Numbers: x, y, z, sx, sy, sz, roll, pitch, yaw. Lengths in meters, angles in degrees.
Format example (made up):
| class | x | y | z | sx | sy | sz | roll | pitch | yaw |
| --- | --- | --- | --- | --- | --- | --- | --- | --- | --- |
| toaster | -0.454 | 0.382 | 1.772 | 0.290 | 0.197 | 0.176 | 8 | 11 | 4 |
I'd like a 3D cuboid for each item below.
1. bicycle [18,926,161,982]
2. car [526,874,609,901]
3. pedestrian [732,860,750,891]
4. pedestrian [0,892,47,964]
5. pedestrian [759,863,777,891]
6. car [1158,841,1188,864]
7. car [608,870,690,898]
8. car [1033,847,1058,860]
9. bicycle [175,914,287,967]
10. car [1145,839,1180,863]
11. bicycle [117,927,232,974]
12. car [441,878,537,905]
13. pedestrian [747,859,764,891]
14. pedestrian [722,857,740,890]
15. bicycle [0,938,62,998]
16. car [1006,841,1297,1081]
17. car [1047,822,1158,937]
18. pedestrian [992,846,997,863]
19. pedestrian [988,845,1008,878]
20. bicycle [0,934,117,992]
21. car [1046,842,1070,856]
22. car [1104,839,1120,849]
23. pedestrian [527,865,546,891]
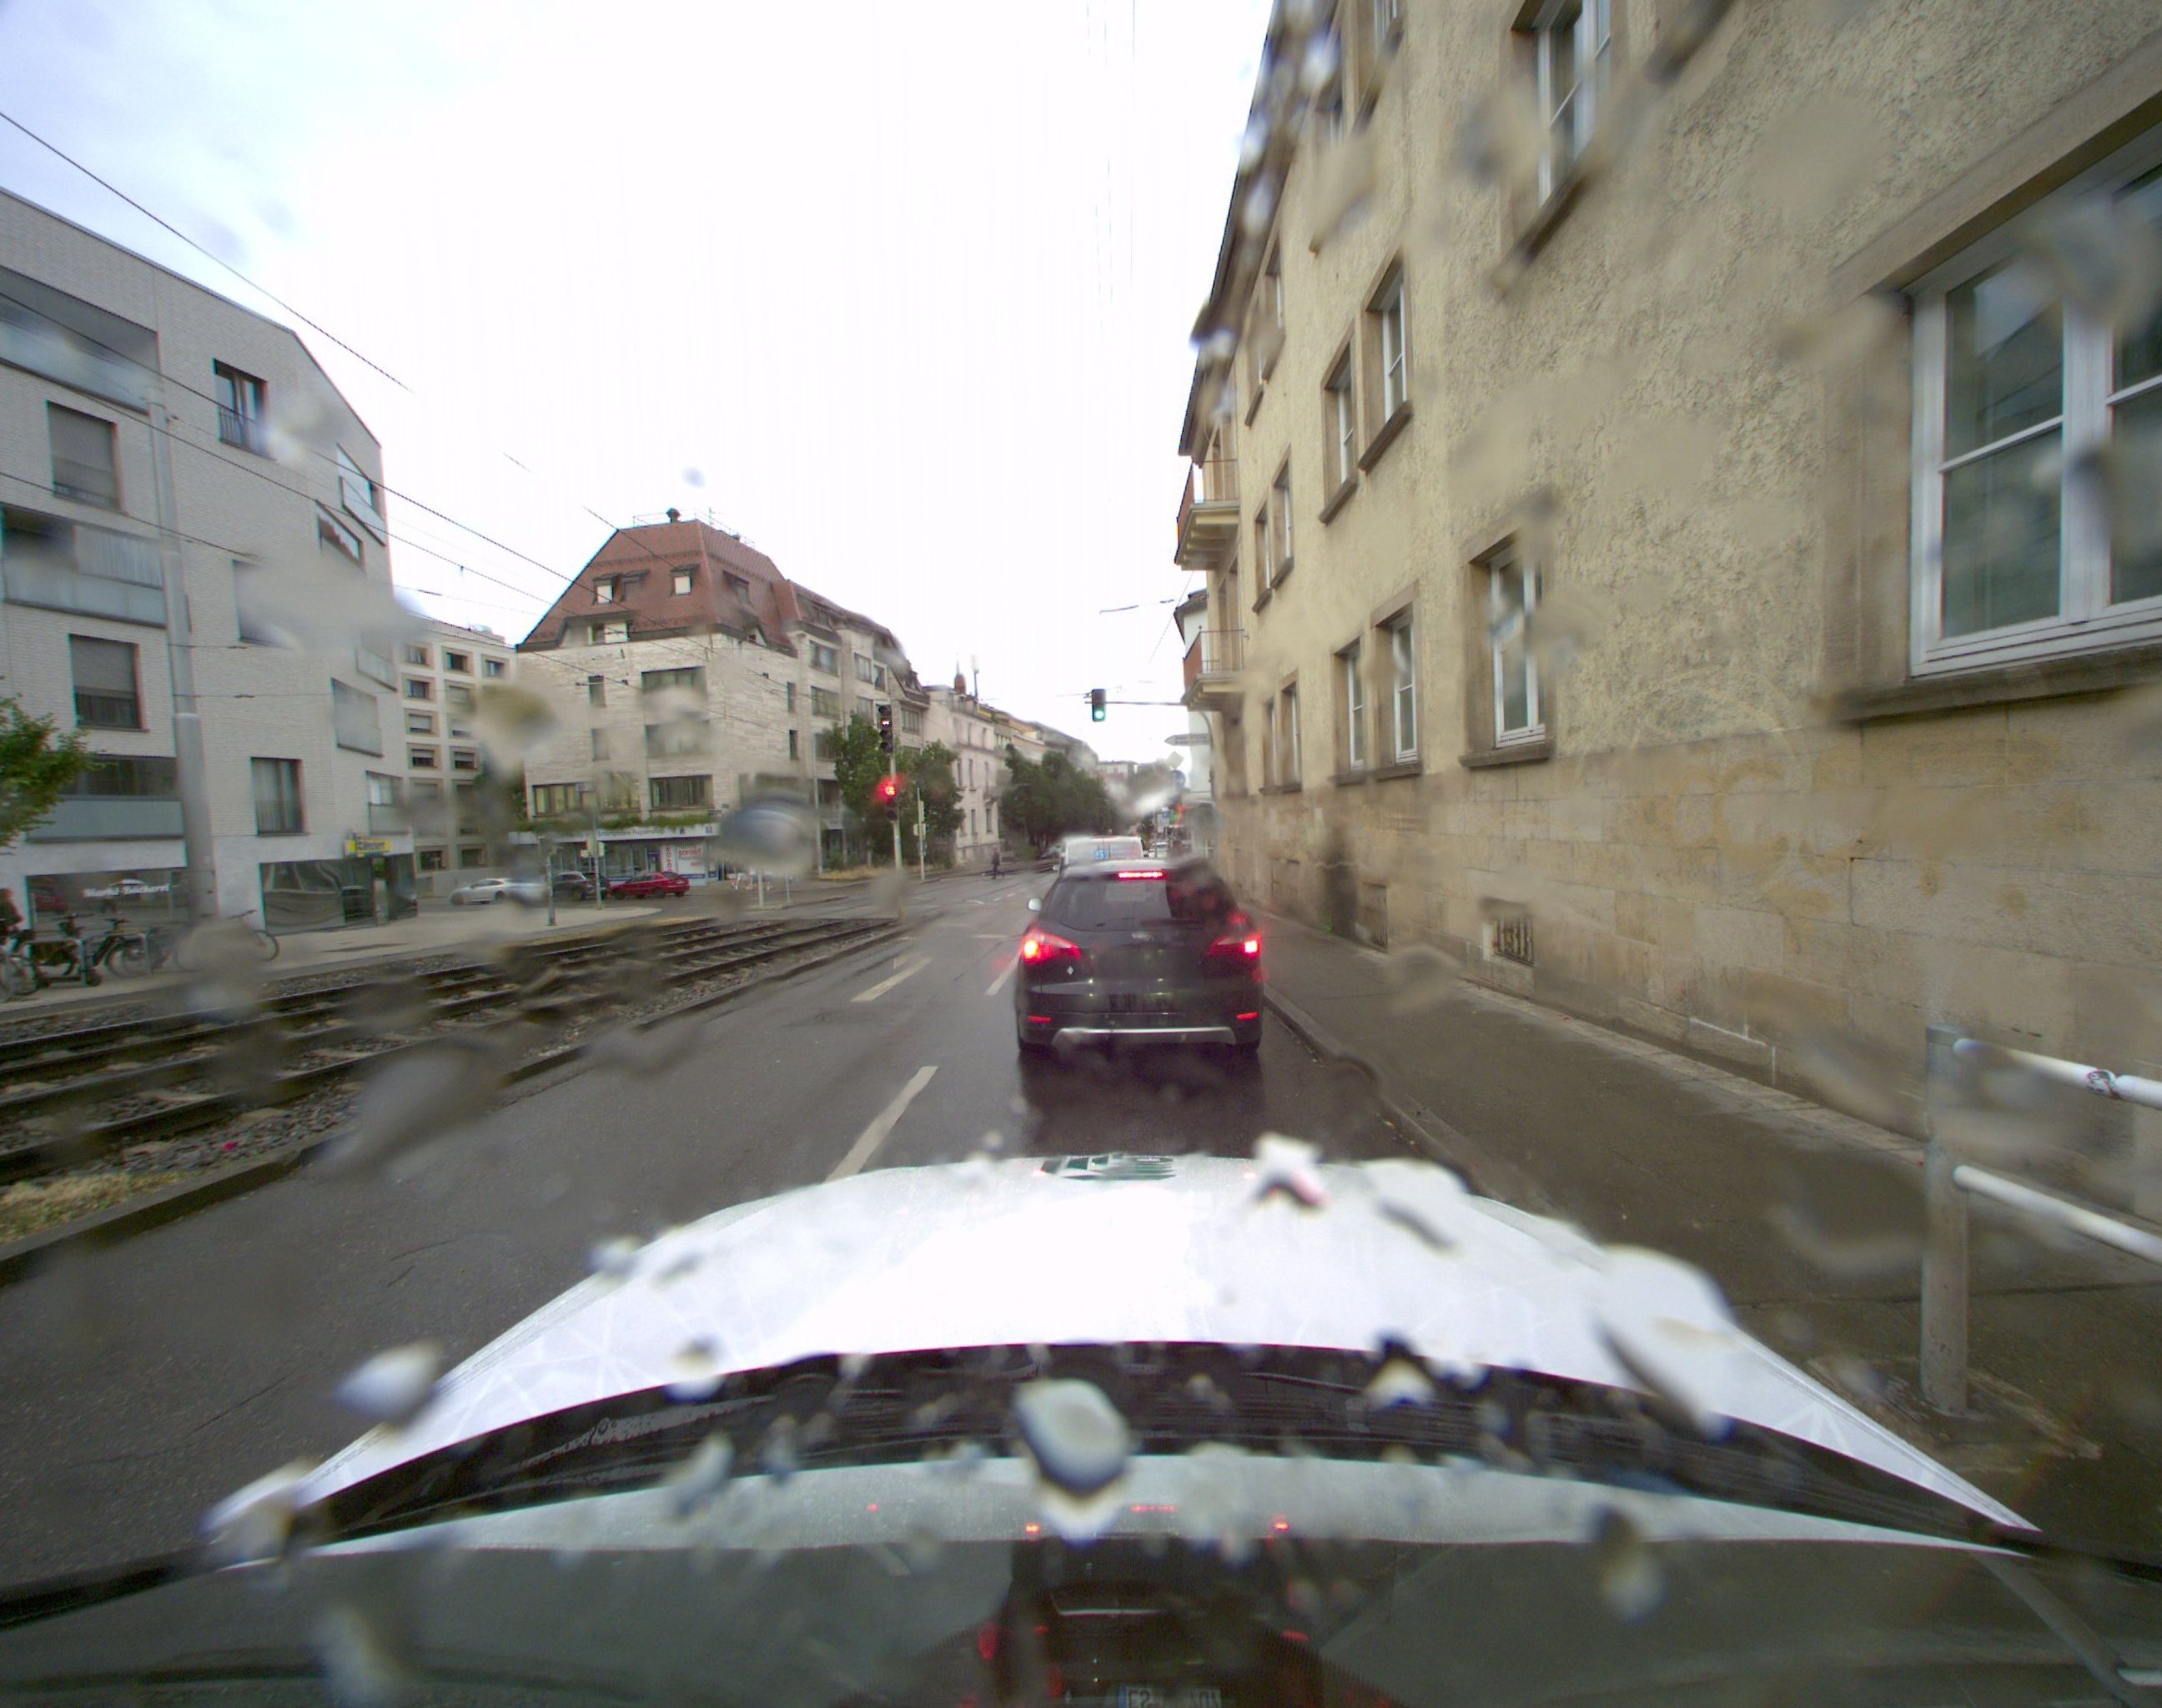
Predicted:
| class | x | y | z | sx | sy | sz | roll | pitch | yaw |
| --- | --- | --- | --- | --- | --- | --- | --- | --- | --- |
| bicycle | -18.522 | 1.857 | 15.248 | 1.787 | 0.917 | 0.385 | -1 | 0 | -16 |
| car | -27.806 | 1.807 | 44.151 | 3.670 | 1.318 | 1.599 | -2 | -1 | 11 |
| pedestrian | -18.852 | 1.188 | 45.165 | 0.643 | 1.749 | 0.686 | 0 | -1 | 10 |
| pedestrian | -24.617 | 1.700 | 18.773 | 0.650 | 1.569 | 0.770 | -2 | 0 | -26 |
| pedestrian | -17.258 | 1.249 | 44.957 | 0.643 | 1.549 | 0.686 | 0 | -1 | 10 |
| car | 7.142 | -0.109 | 62.909 | 1.833 | 1.632 | 4.602 | -2 | 0 | 12 |
| car | -22.958 | 1.589 | 43.300 | 3.668 | 1.318 | 1.599 | -2 | -1 | 12 |
| car | -4.067 | -0.080 | 94.058 | 1.682 | 1.377 | 4.736 | -2 | -1 | 12 |
| bicycle | -17.967 | 1.825 | 17.232 | 1.779 | 0.980 | 0.440 | -2 | 0 | -3 |
| car | 5.638 | -0.215 | 55.895 | 1.789 | 1.455 | 4.602 | -3 | 0 | 12 |
| bicycle | -17.785 | 1.885 | 15.997 | 1.778 | 0.876 | 0.387 | 0 | -1 | -1 |
| car | -32.667 | 2.059 | 44.961 | 4.458 | 1.318 | 1.598 | -2 | -1 | 11 |
| pedestrian | -17.991 | 1.166 | 45.022 | 0.643 | 1.724 | 0.686 | 0 | -1 | 10 |
| pedestrian | -19.858 | 1.086 | 46.186 | 0.643 | 1.842 | 0.686 | 0 | -1 | 10 |
| bicycle | -17.770 | 1.872 | 13.252 | 1.779 | 0.918 | 0.387 | -2 | 0 | -3 |
| car | 0.502 | 0.690 | 7.192 | 1.836 | 1.507 | 4.001 | -1 | 0 | 1 |
| car | 0.432 | 0.463 | 17.044 | 1.981 | 2.060 | 4.645 | -1 | 0 | 1 |
| pedestrian | -8.500 | 0.078 | 79.793 | 0.466 | 1.652 | 0.582 | 0 | -1 | 0 |
| pedestrian | -4.592 | 0.409 | 45.166 | 0.926 | 1.830 | 0.960 | 0 | -1 | 4 |
| bicycle | -17.954 | 1.884 | 14.126 | 1.782 | 0.918 | 0.386 | 0 | -1 | -8 |
| car | -2.764 | -0.609 | 100.147 | 1.843 | 1.548 | 4.736 | -2 | 0 | 12 |
| car | 5.386 | -1.751 | 139.900 | 1.843 | 1.637 | 4.952 | -2 | 0 | 12 |
| pedestrian | -32.599 | 1.417 | 48.739 | 0.677 | 1.549 | 0.651 | 0 | -1 | 10 |
